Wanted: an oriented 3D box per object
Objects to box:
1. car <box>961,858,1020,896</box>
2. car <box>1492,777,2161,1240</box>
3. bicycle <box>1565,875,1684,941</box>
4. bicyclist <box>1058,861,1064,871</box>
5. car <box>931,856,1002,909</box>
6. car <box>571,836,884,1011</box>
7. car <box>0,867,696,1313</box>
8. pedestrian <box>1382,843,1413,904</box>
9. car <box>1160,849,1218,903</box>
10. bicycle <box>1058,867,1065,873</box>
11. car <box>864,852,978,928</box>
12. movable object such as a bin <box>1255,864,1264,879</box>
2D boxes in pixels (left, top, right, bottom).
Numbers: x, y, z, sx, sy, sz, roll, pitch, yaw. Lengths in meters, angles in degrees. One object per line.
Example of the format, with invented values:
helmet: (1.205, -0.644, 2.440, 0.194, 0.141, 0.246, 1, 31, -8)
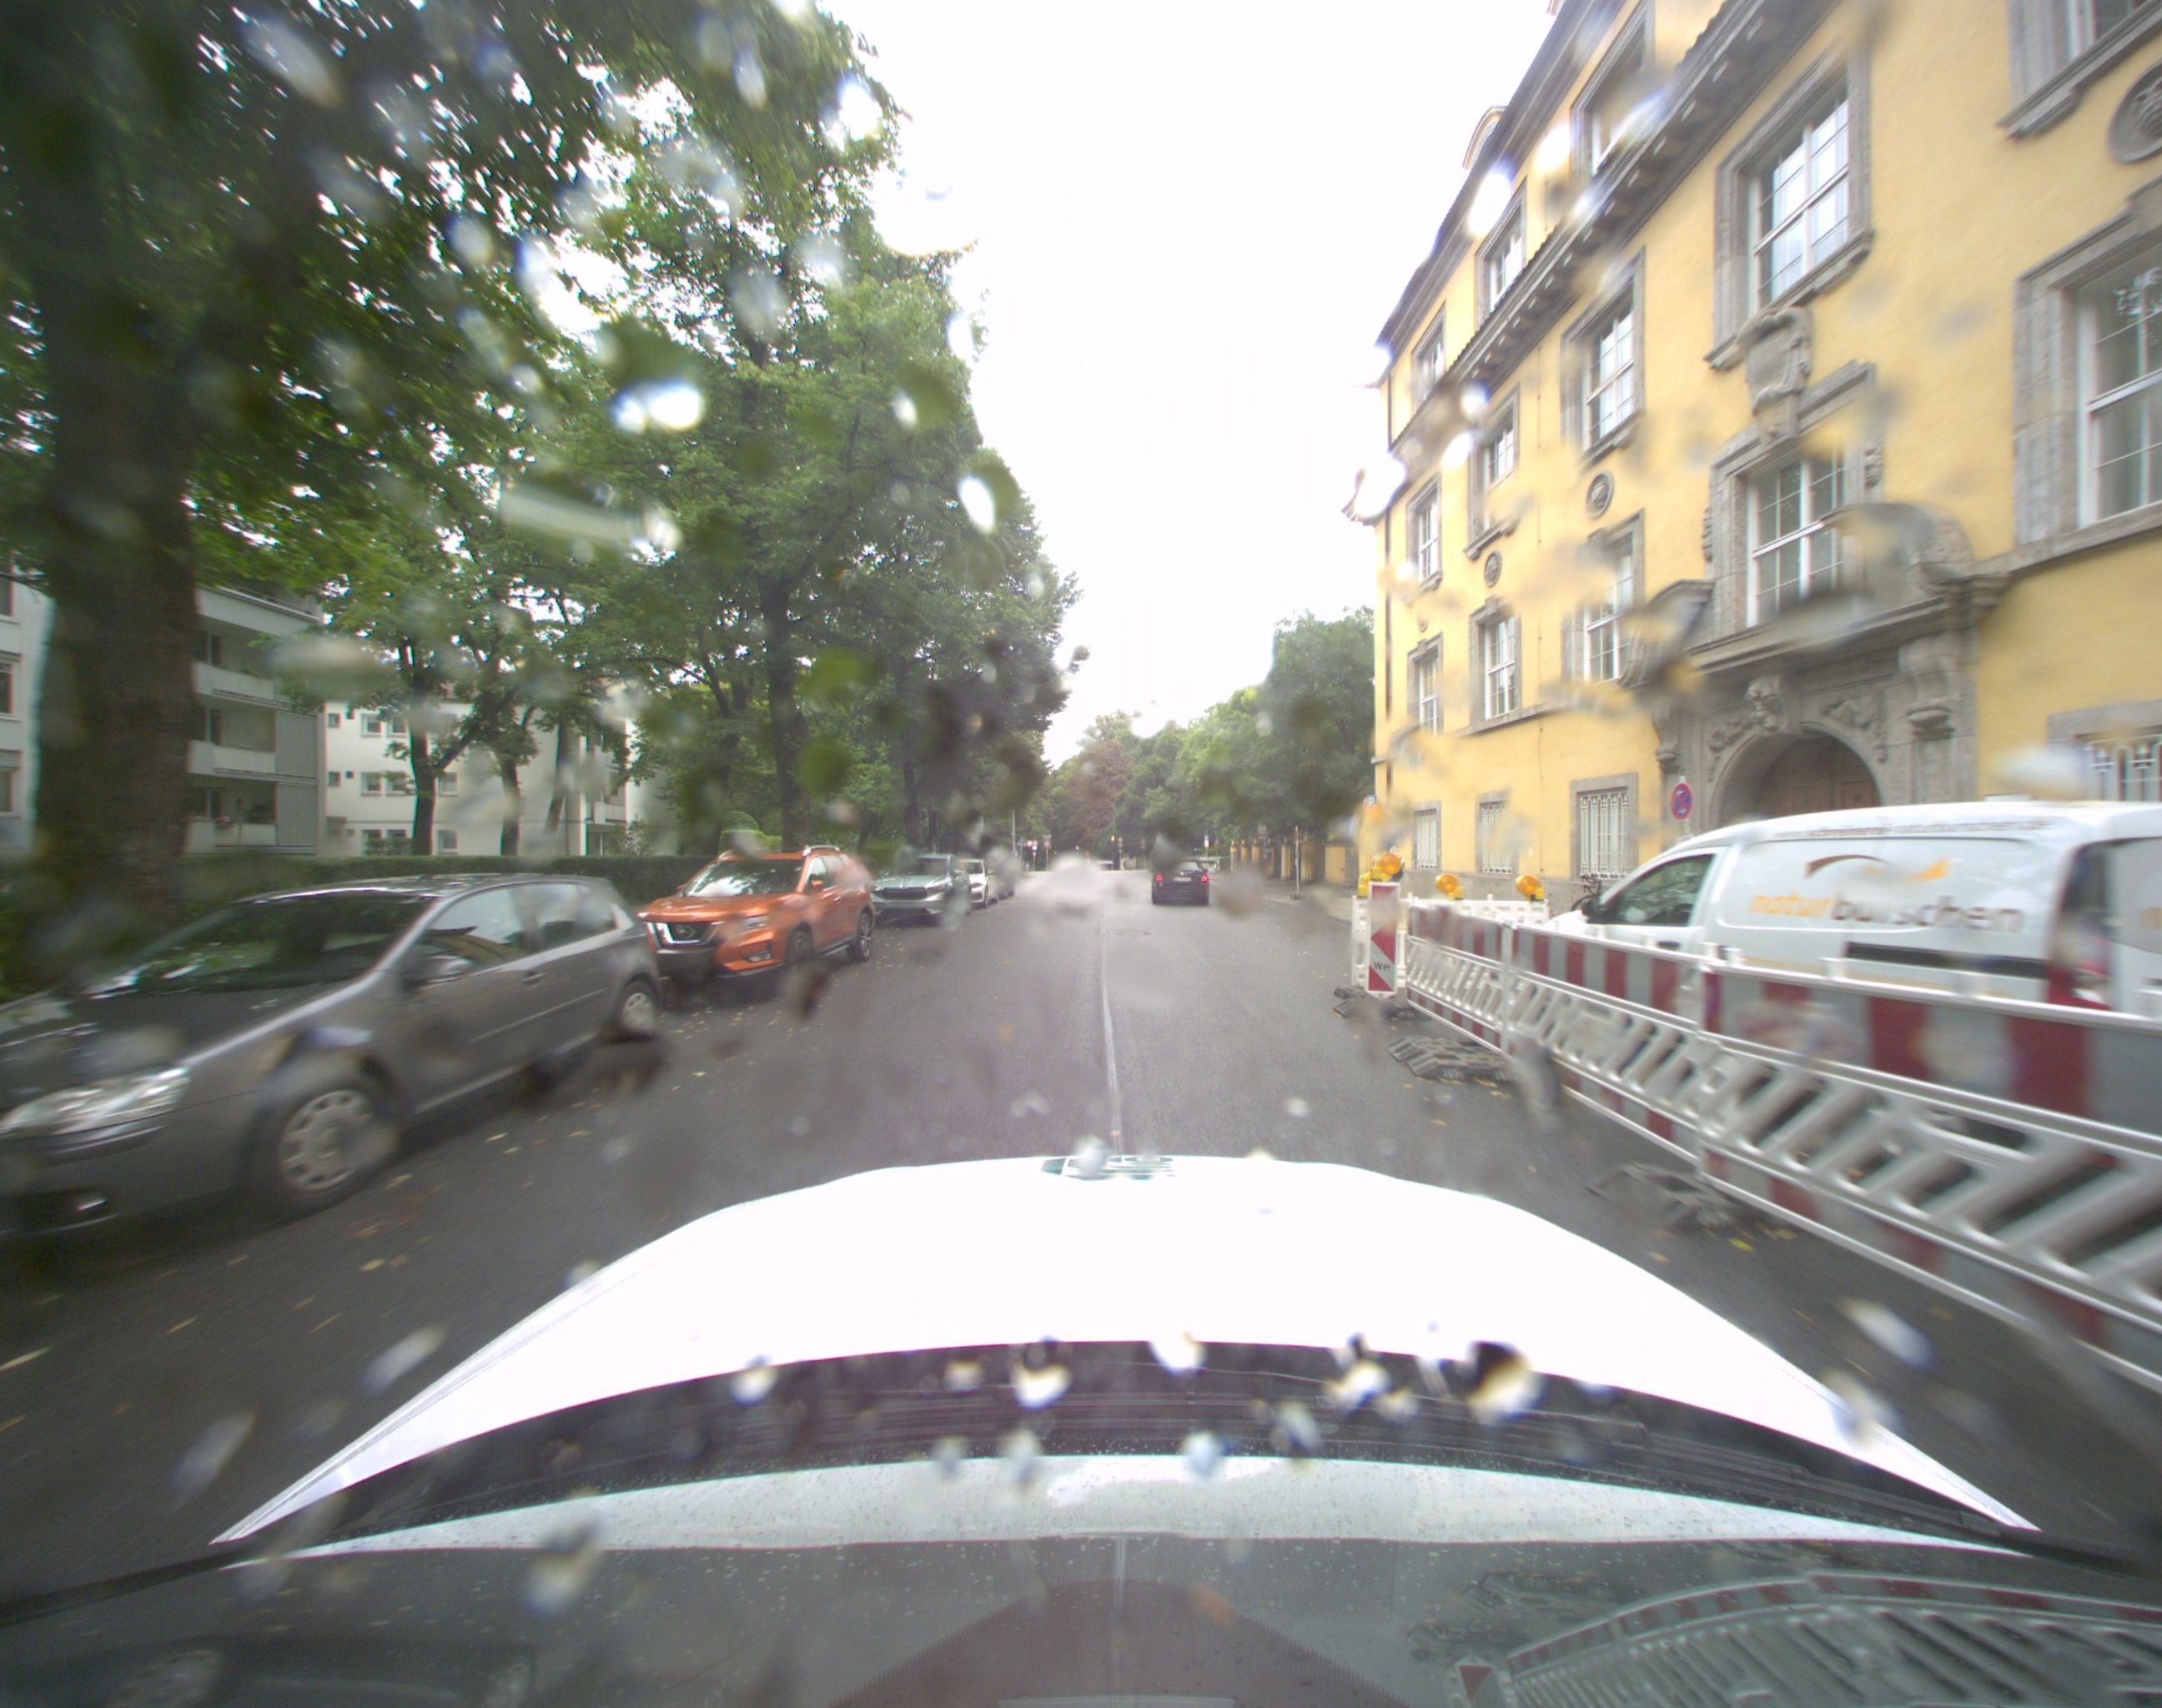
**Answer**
car: (-3.330, 0.823, 30.622, 1.571, 1.343, 4.047, -1, 0, 3)
car: (4.666, 0.612, 5.295, 1.734, 1.750, 4.354, 0, -1, -1)
bicycle: (9.263, 0.892, 14.001, 0.678, 1.006, 2.057, 0, -1, 0)
bicyclist: (-2.860, 1.734, 117.190, 0.680, 1.504, 0.898, -1, 0, -8)
car: (-3.463, 0.821, 25.306, 1.572, 1.497, 4.199, 0, 0, 0)
car: (-4.084, 0.707, 10.435, 1.866, 1.728, 4.642, 0, 0, 1)
car: (-4.169, 0.837, 4.861, 1.722, 1.423, 4.250, 0, 0, 0)
pedestrian: (8.735, 0.533, 22.503, 0.558, 1.638, 0.571, -2, 0, 0)
car: (3.409, 0.668, 26.288, 1.570, 1.584, 4.048, -1, 0, 4)
bicycle: (-2.835, 2.271, 117.080, 0.679, 0.830, 2.103, 0, -1, -8)
car: (-3.705, 0.782, 19.638, 1.809, 1.601, 4.513, 0, 0, 0)
movable object such as a bin: (9.842, 0.964, 44.962, 0.395, 0.780, 0.465, -1, 0, 3)
